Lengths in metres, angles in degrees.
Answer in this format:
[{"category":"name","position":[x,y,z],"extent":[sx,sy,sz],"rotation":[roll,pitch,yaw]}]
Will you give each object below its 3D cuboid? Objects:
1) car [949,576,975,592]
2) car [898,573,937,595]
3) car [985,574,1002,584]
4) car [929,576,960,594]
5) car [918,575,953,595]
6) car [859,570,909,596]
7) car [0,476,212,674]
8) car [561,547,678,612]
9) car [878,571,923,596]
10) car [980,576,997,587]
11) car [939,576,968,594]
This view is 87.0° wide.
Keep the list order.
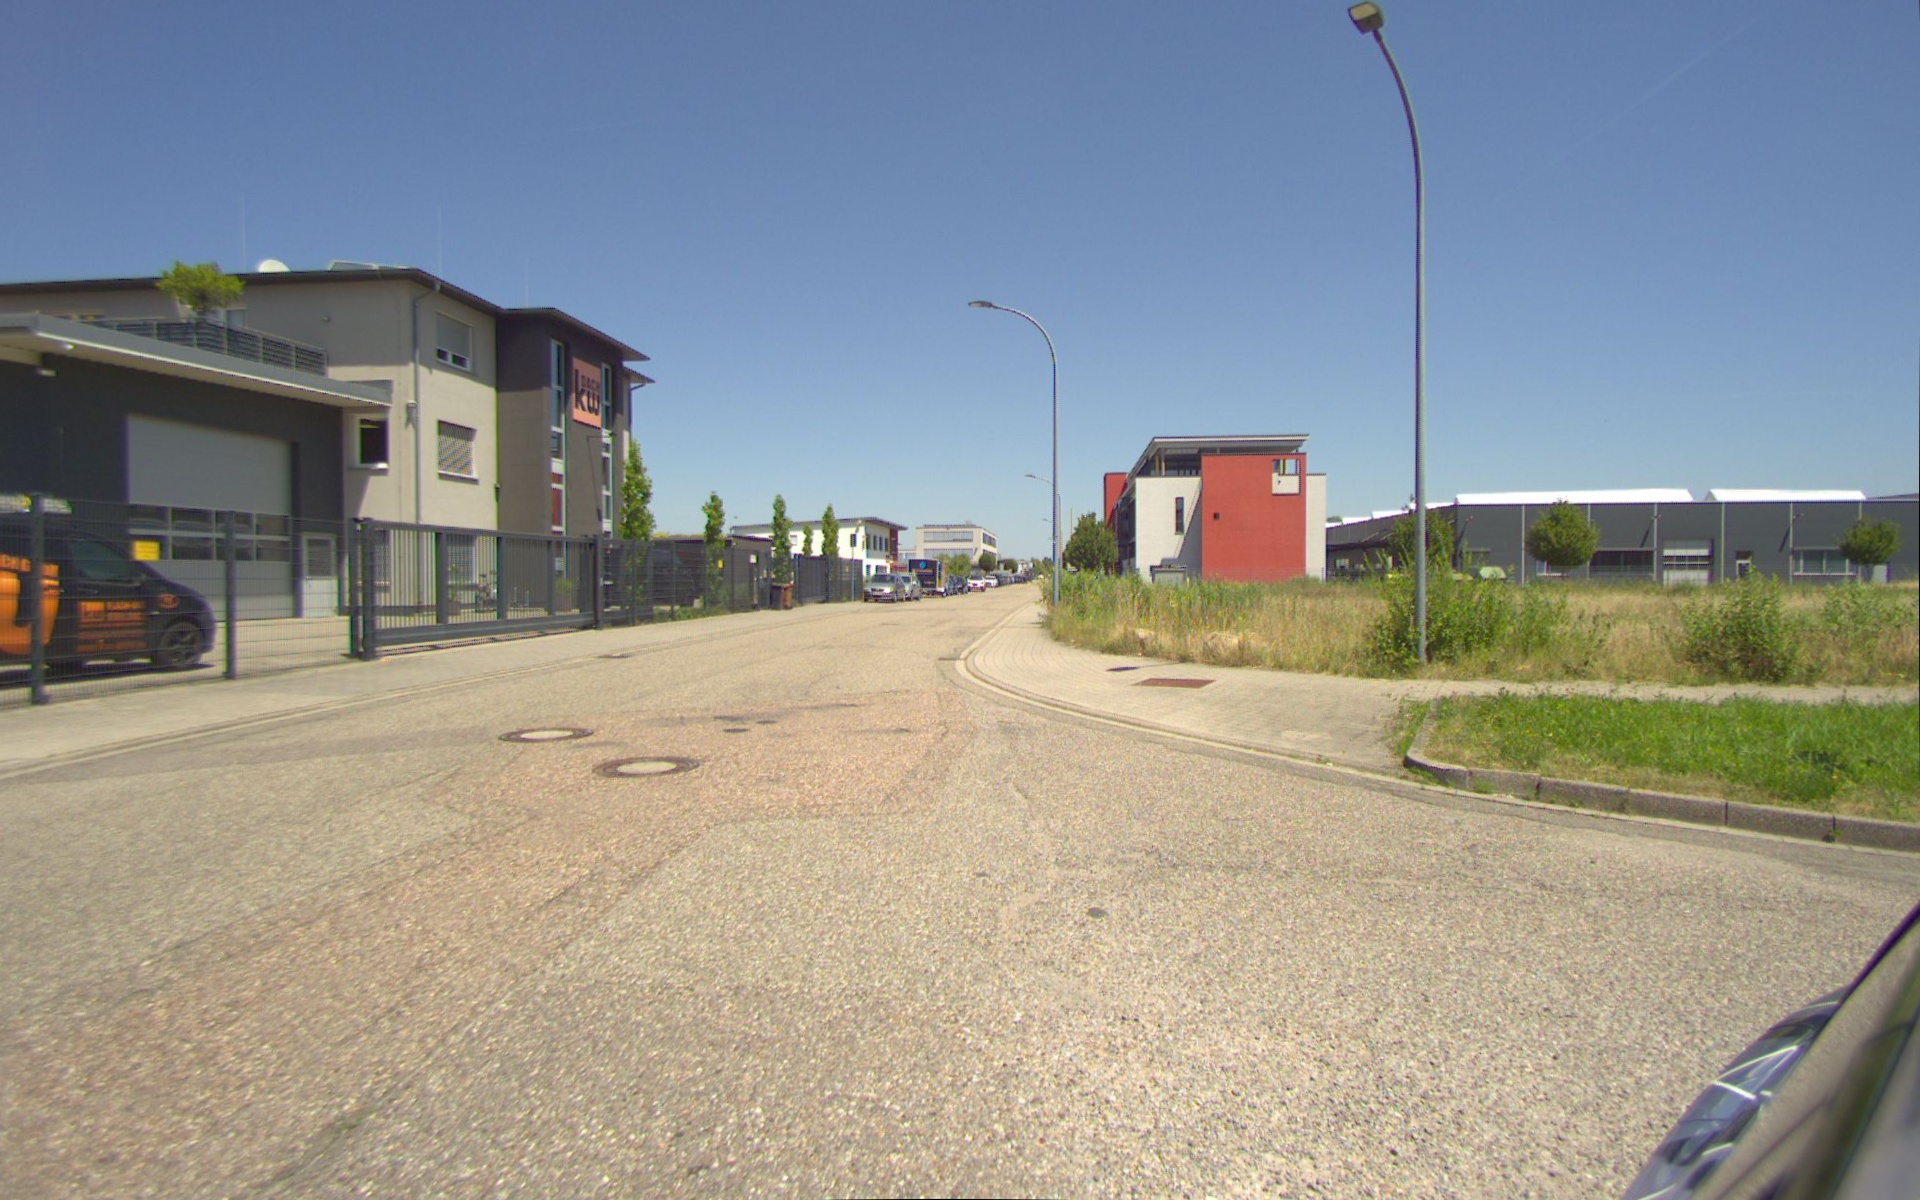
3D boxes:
[{"category":"car","position":[0.191,-1.367,83.818],"extent":[1.798,1.292,3.880],"rotation":[0,2,7]},{"category":"car","position":[-2.539,-0.982,61.186],"extent":[1.798,1.292,3.880],"rotation":[0,2,7]},{"category":"car","position":[4.302,-2.700,130.192],"extent":[1.798,1.292,3.880],"rotation":[0,2,7]},{"category":"car","position":[-1.088,-1.104,73.119],"extent":[1.798,1.292,3.880],"rotation":[0,2,7]},{"category":"car","position":[-1.635,-1.057,68.483],"extent":[1.798,1.292,3.880],"rotation":[0,2,7]},{"category":"car","position":[-3.788,-0.878,50.918],"extent":[1.798,1.292,3.880],"rotation":[0,2,7]},{"category":"car","position":[-11.483,-0.279,11.640],"extent":[1.887,2.188,4.774],"rotation":[-1,2,6]},{"category":"car","position":[-10.139,-0.640,30.461],"extent":[1.896,1.817,3.996],"rotation":[0,2,5]},{"category":"car","position":[-3.238,-0.927,55.718],"extent":[1.798,1.292,3.880],"rotation":[0,2,7]},{"category":"car","position":[3.532,-2.283,124.261],"extent":[1.798,1.292,3.880],"rotation":[0,2,7]},{"category":"car","position":[-0.479,-1.153,77.911],"extent":[1.798,1.292,3.880],"rotation":[0,2,7]}]
